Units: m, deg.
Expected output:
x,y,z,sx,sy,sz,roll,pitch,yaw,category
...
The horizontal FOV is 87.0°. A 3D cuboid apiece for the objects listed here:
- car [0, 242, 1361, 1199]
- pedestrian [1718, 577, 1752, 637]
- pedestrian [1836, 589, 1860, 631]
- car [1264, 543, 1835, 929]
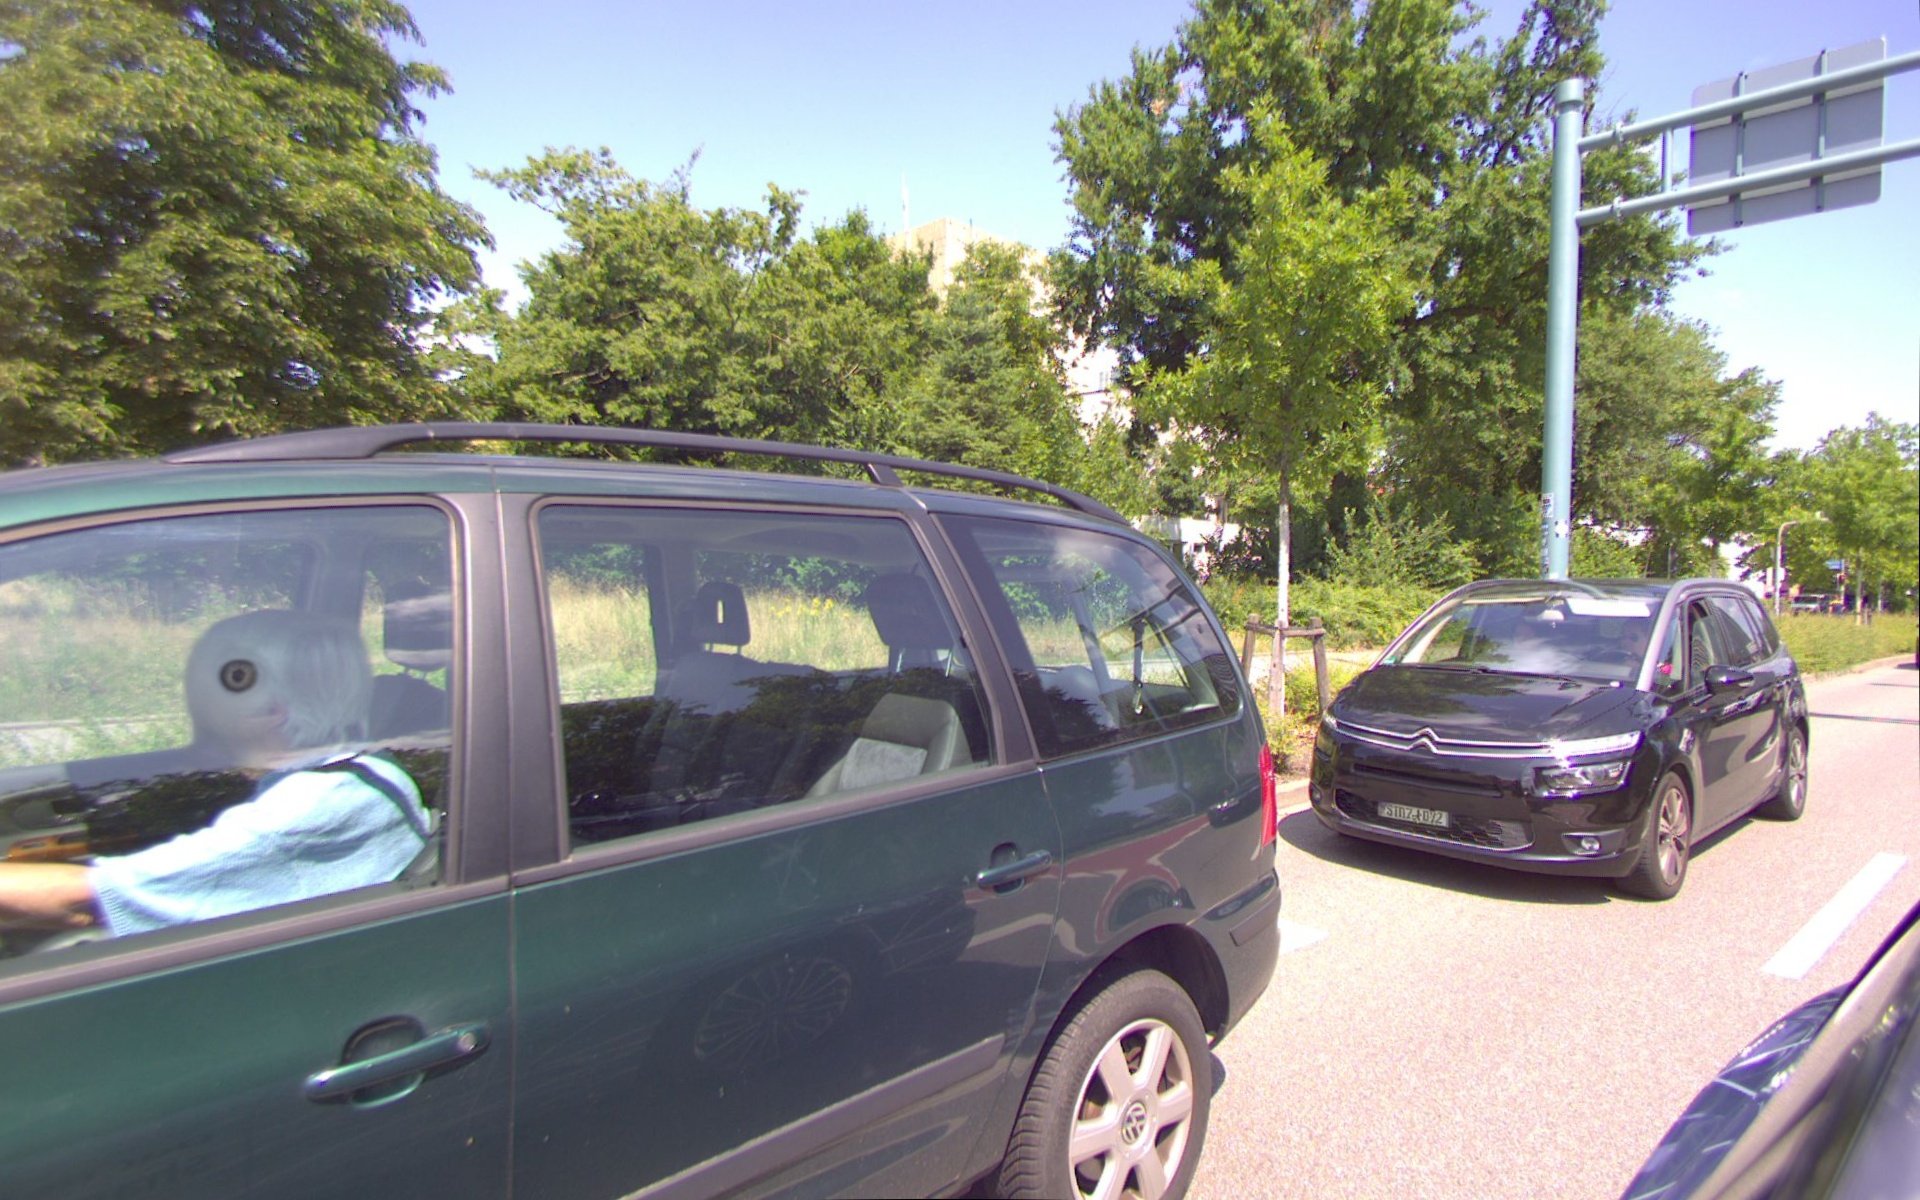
x,y,z,sx,sy,sz,roll,pitch,yaw,category
-1.138,0.533,1.961,4.315,1.737,1.804,0,-1,-41,car
27.347,0.247,35.696,0.843,2.063,0.888,2,1,43,pedestrian
38.450,0.434,43.827,0.635,1.787,0.876,2,1,32,pedestrian
3.946,0.588,6.417,4.400,1.628,1.815,1,-1,-41,car
